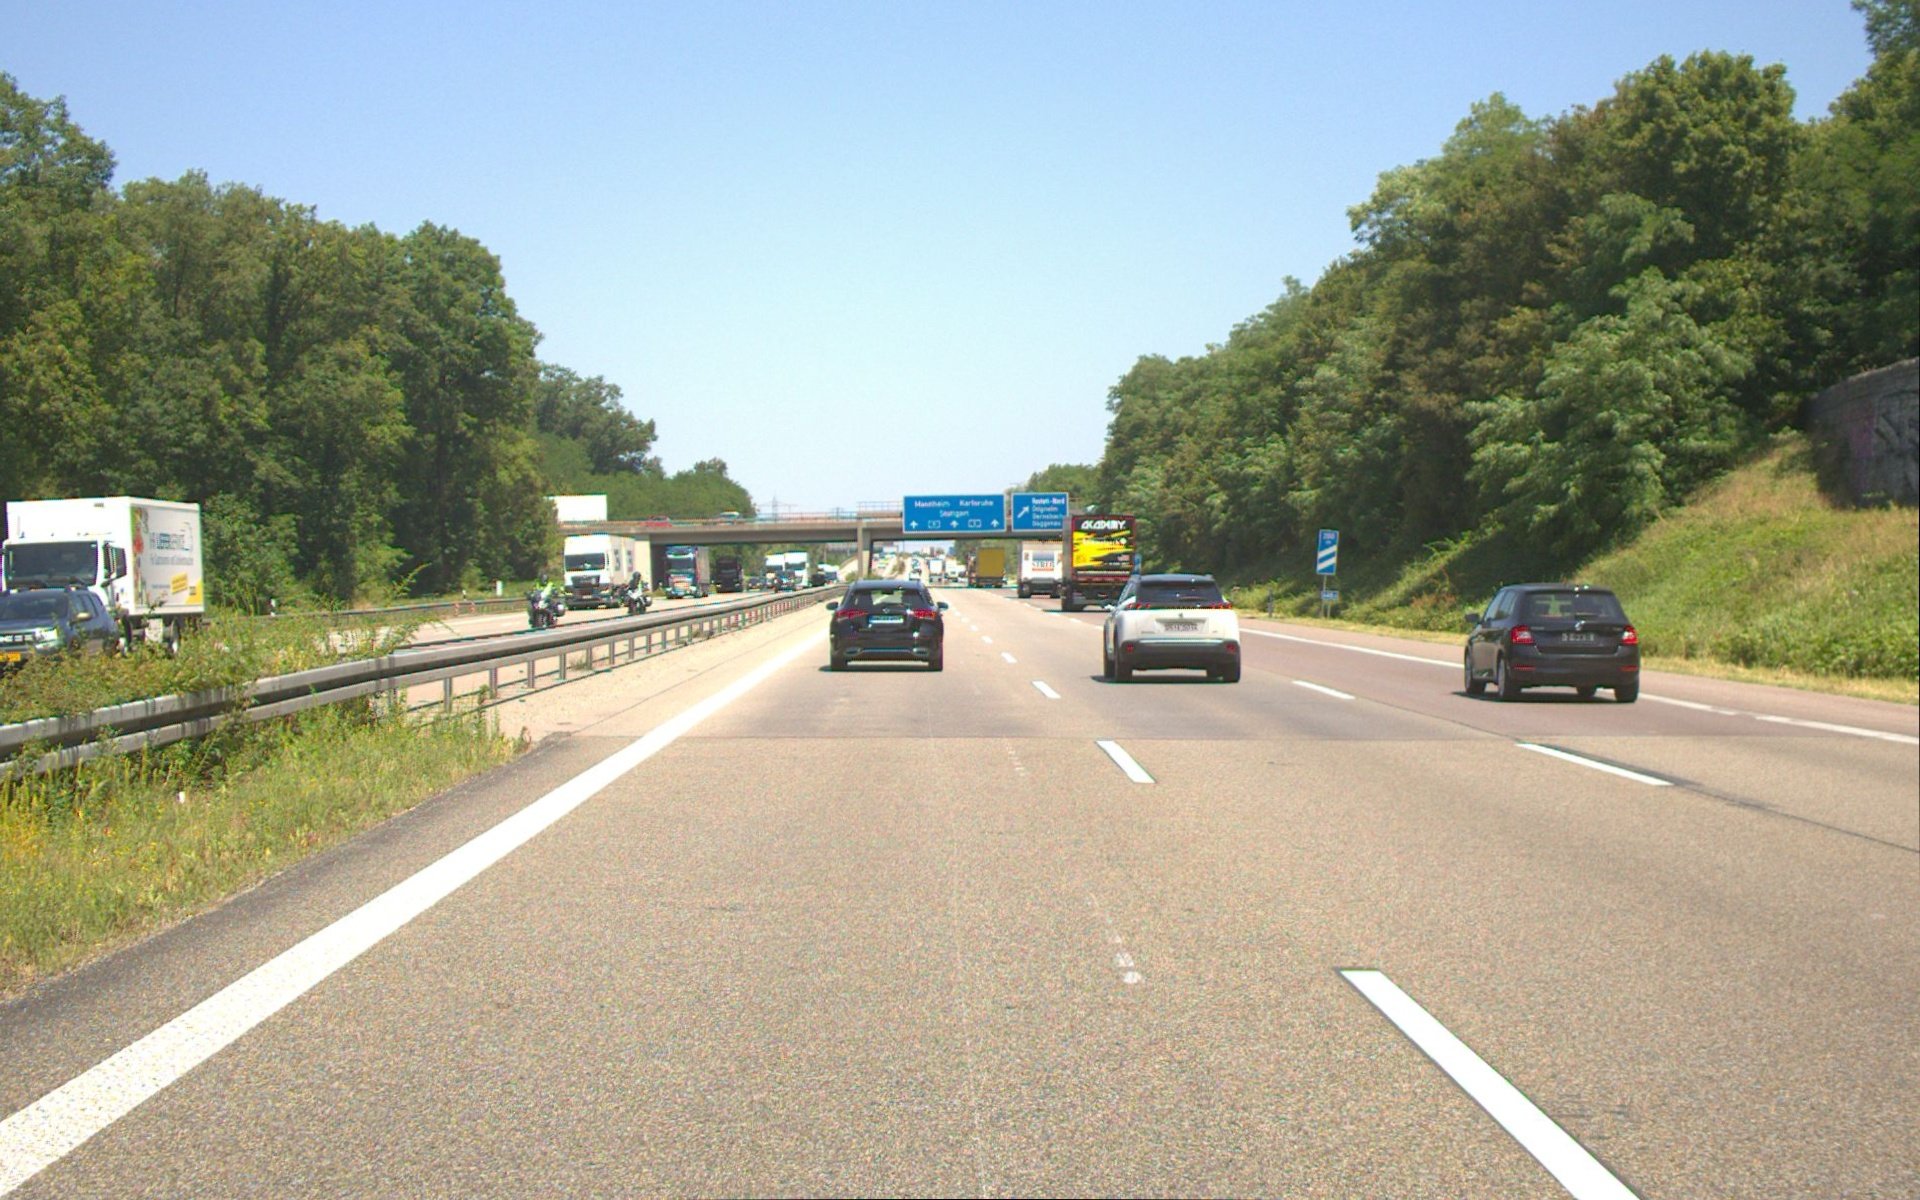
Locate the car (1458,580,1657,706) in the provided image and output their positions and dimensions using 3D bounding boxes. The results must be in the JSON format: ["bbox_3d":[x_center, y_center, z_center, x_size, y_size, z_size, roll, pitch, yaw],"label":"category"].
[{"bbox_3d":[7.390,0.502,42.861,1.789,1.456,3.949,1,1,0],"label":"car"}]

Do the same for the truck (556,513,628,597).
[{"bbox_3d":[-20.621,-2.510,193.015,2.956,4.499,12.640,-1,1,-2],"label":"truck"}]

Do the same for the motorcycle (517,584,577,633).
[{"bbox_3d":[-10.812,0.208,90.139,1.153,1.245,3.810,-1,0,-1],"label":"motorcycle"}]

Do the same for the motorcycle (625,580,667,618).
[{"bbox_3d":[-10.777,-0.044,118.118,1.153,1.245,3.810,-1,0,-1],"label":"motorcycle"}]

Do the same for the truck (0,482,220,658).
[{"bbox_3d":[-19.053,-0.686,77.215,2.796,3.620,10.698,-1,1,-2],"label":"truck"}]

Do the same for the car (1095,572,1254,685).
[{"bbox_3d":[3.059,0.384,49.761,1.899,1.527,4.242,0,1,-2],"label":"car"}]

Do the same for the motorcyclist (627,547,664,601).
[{"bbox_3d":[-10.788,-0.896,117.977,1.152,1.809,1.027,-1,0,-1],"label":"motorcyclist"}]

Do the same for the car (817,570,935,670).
[{"bbox_3d":[-1.348,0.289,54.961,1.799,1.497,4.242,0,1,-2],"label":"car"}]

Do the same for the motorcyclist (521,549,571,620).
[{"bbox_3d":[-10.815,-0.408,89.833,1.152,1.809,1.027,-1,0,-1],"label":"motorcyclist"}]

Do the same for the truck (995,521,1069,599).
[{"bbox_3d":[4.393,-2.457,213.069,3.647,4.574,17.249,1,0,-2],"label":"truck"}]

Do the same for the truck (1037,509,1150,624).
[{"bbox_3d":[5.523,-1.402,145.691,3.647,4.574,15.768,1,0,-2],"label":"truck"}]

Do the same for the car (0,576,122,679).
[{"bbox_3d":[-14.685,0.407,54.713,1.799,1.527,4.242,0,1,-2],"label":"car"}]
